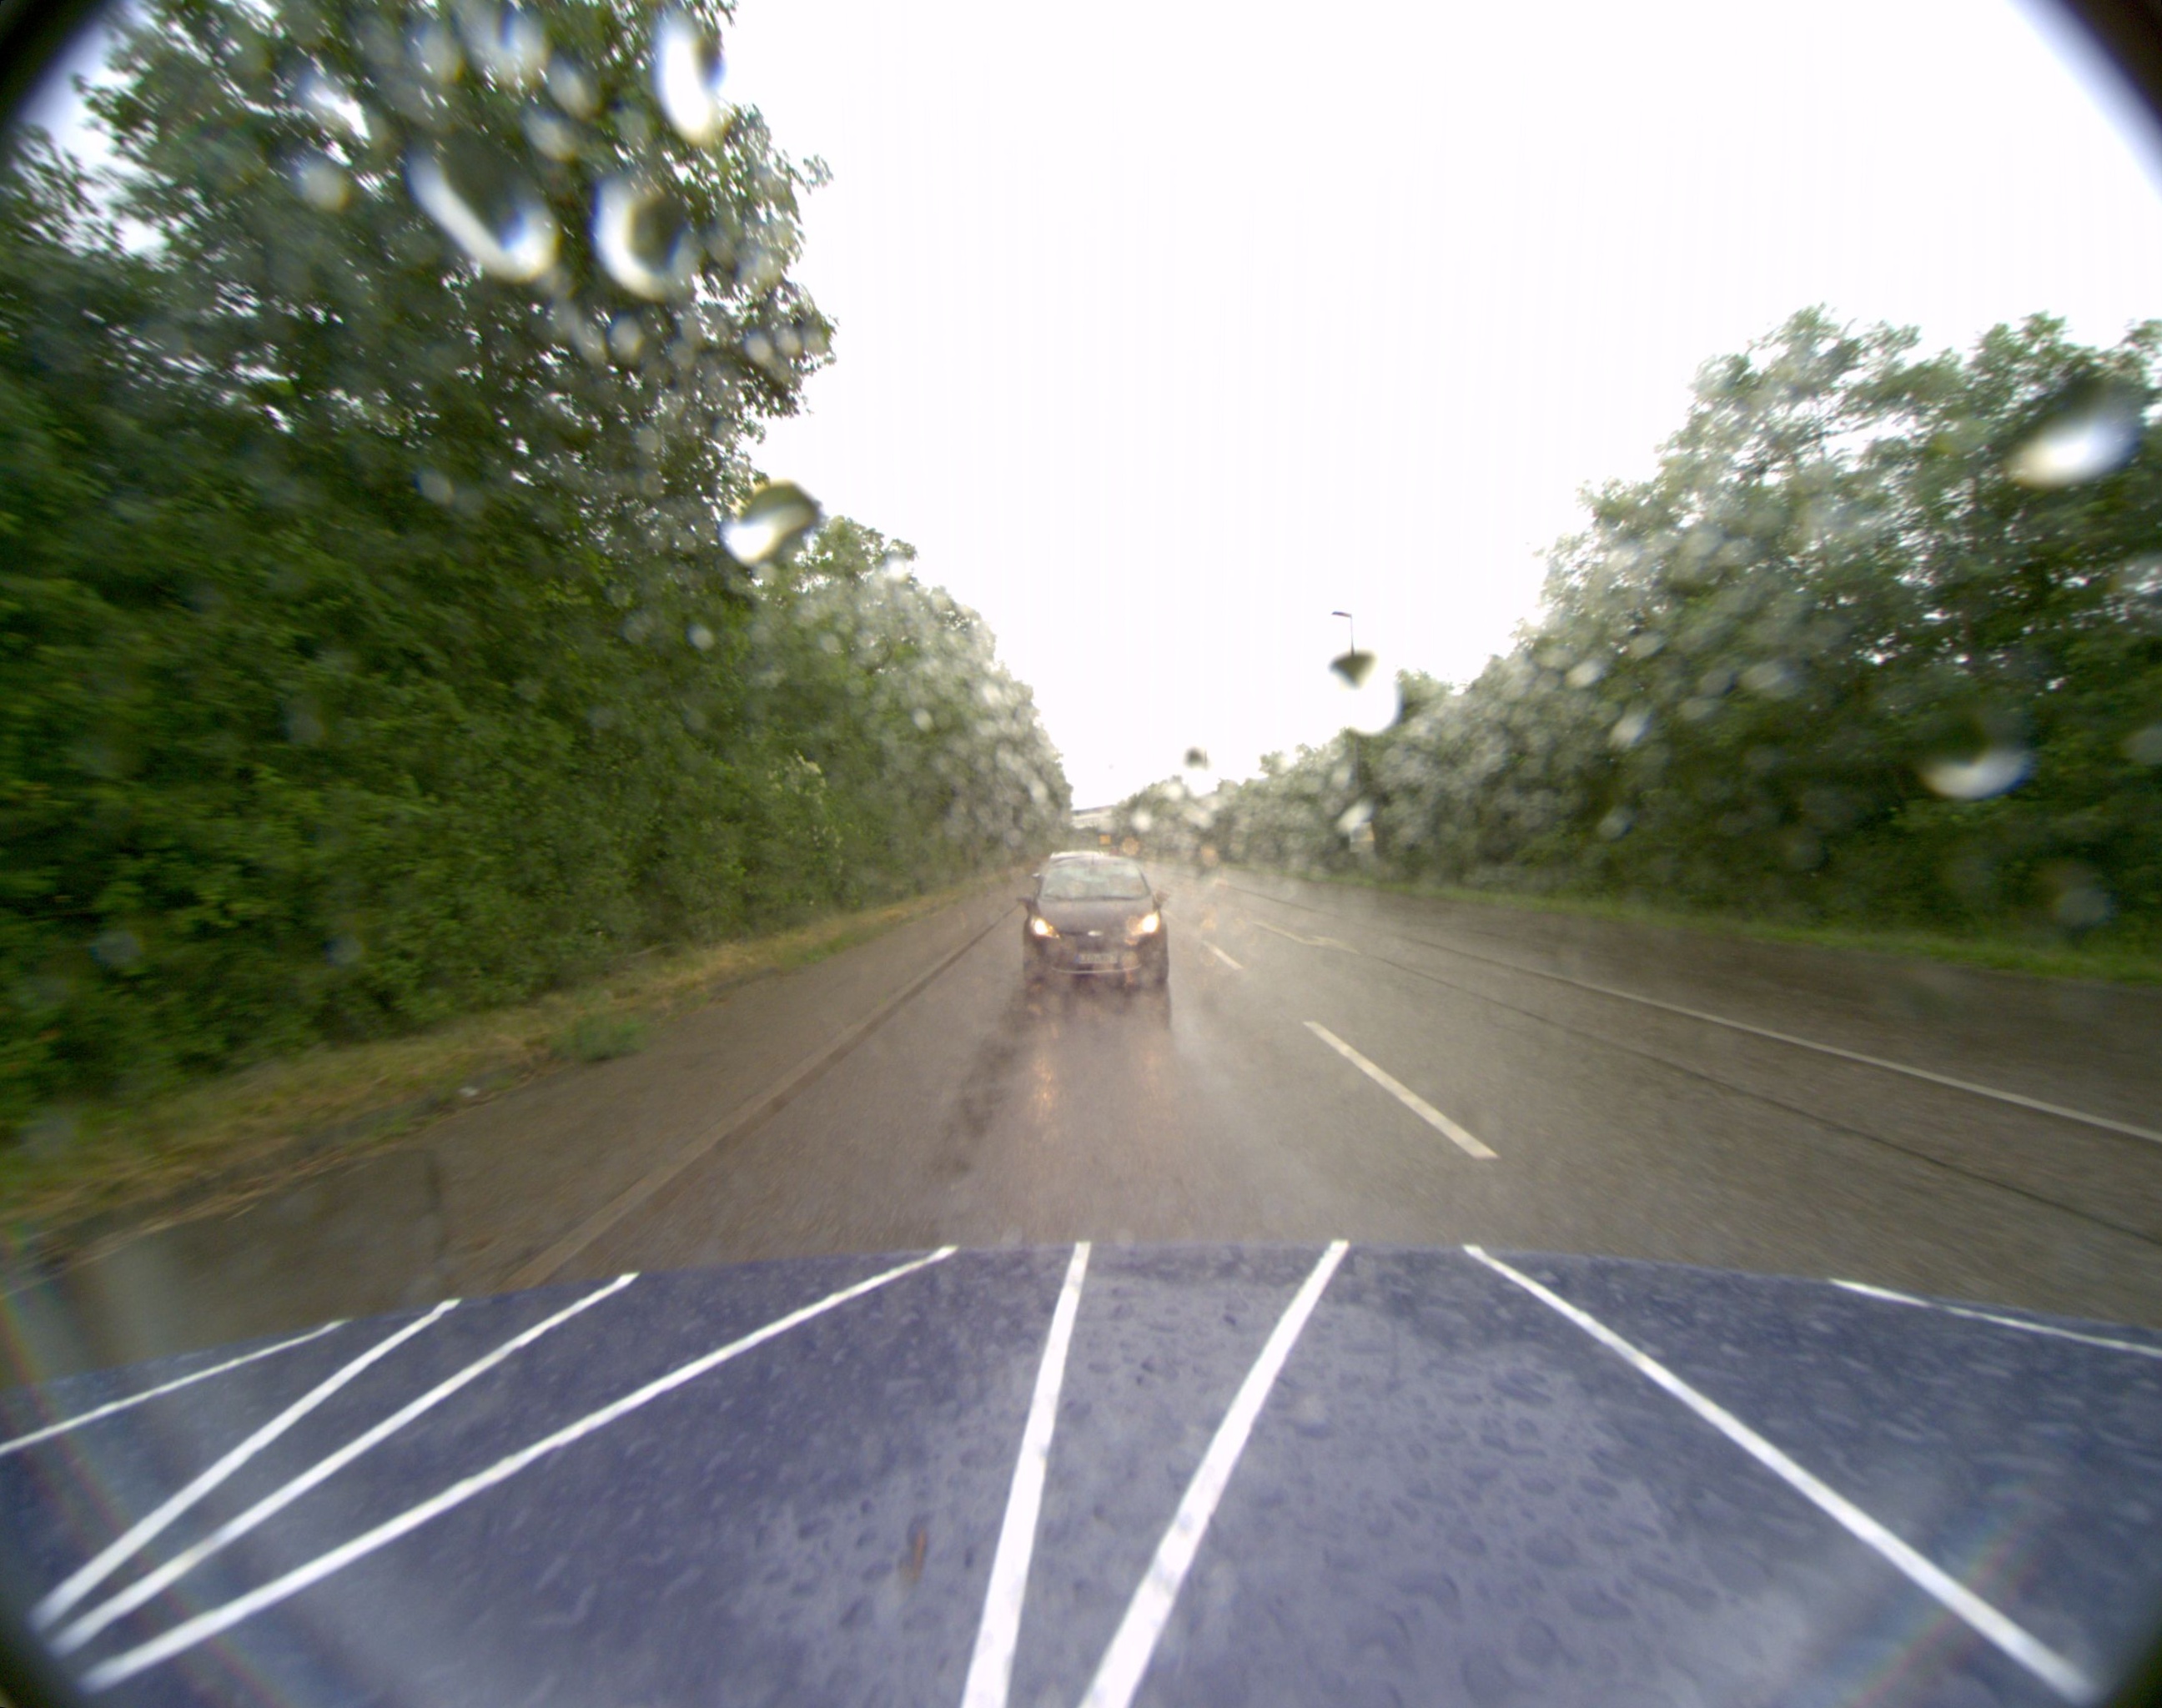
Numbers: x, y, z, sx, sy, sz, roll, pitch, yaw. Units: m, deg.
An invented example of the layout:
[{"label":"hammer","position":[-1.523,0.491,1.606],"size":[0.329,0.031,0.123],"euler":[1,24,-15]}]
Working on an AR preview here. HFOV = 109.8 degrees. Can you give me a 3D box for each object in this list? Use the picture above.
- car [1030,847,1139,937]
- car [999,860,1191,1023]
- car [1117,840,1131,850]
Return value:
[{"label":"car","position":[0.089,0.703,16.311],"size":[1.998,1.576,3.999],"euler":[-2,2,1]},{"label":"car","position":[0.162,0.874,9.606],"size":[1.839,1.404,4.341],"euler":[-2,2,1]},{"label":"car","position":[6.923,-1.475,123.113],"size":[1.998,1.576,3.999],"euler":[-2,2,1]}]
